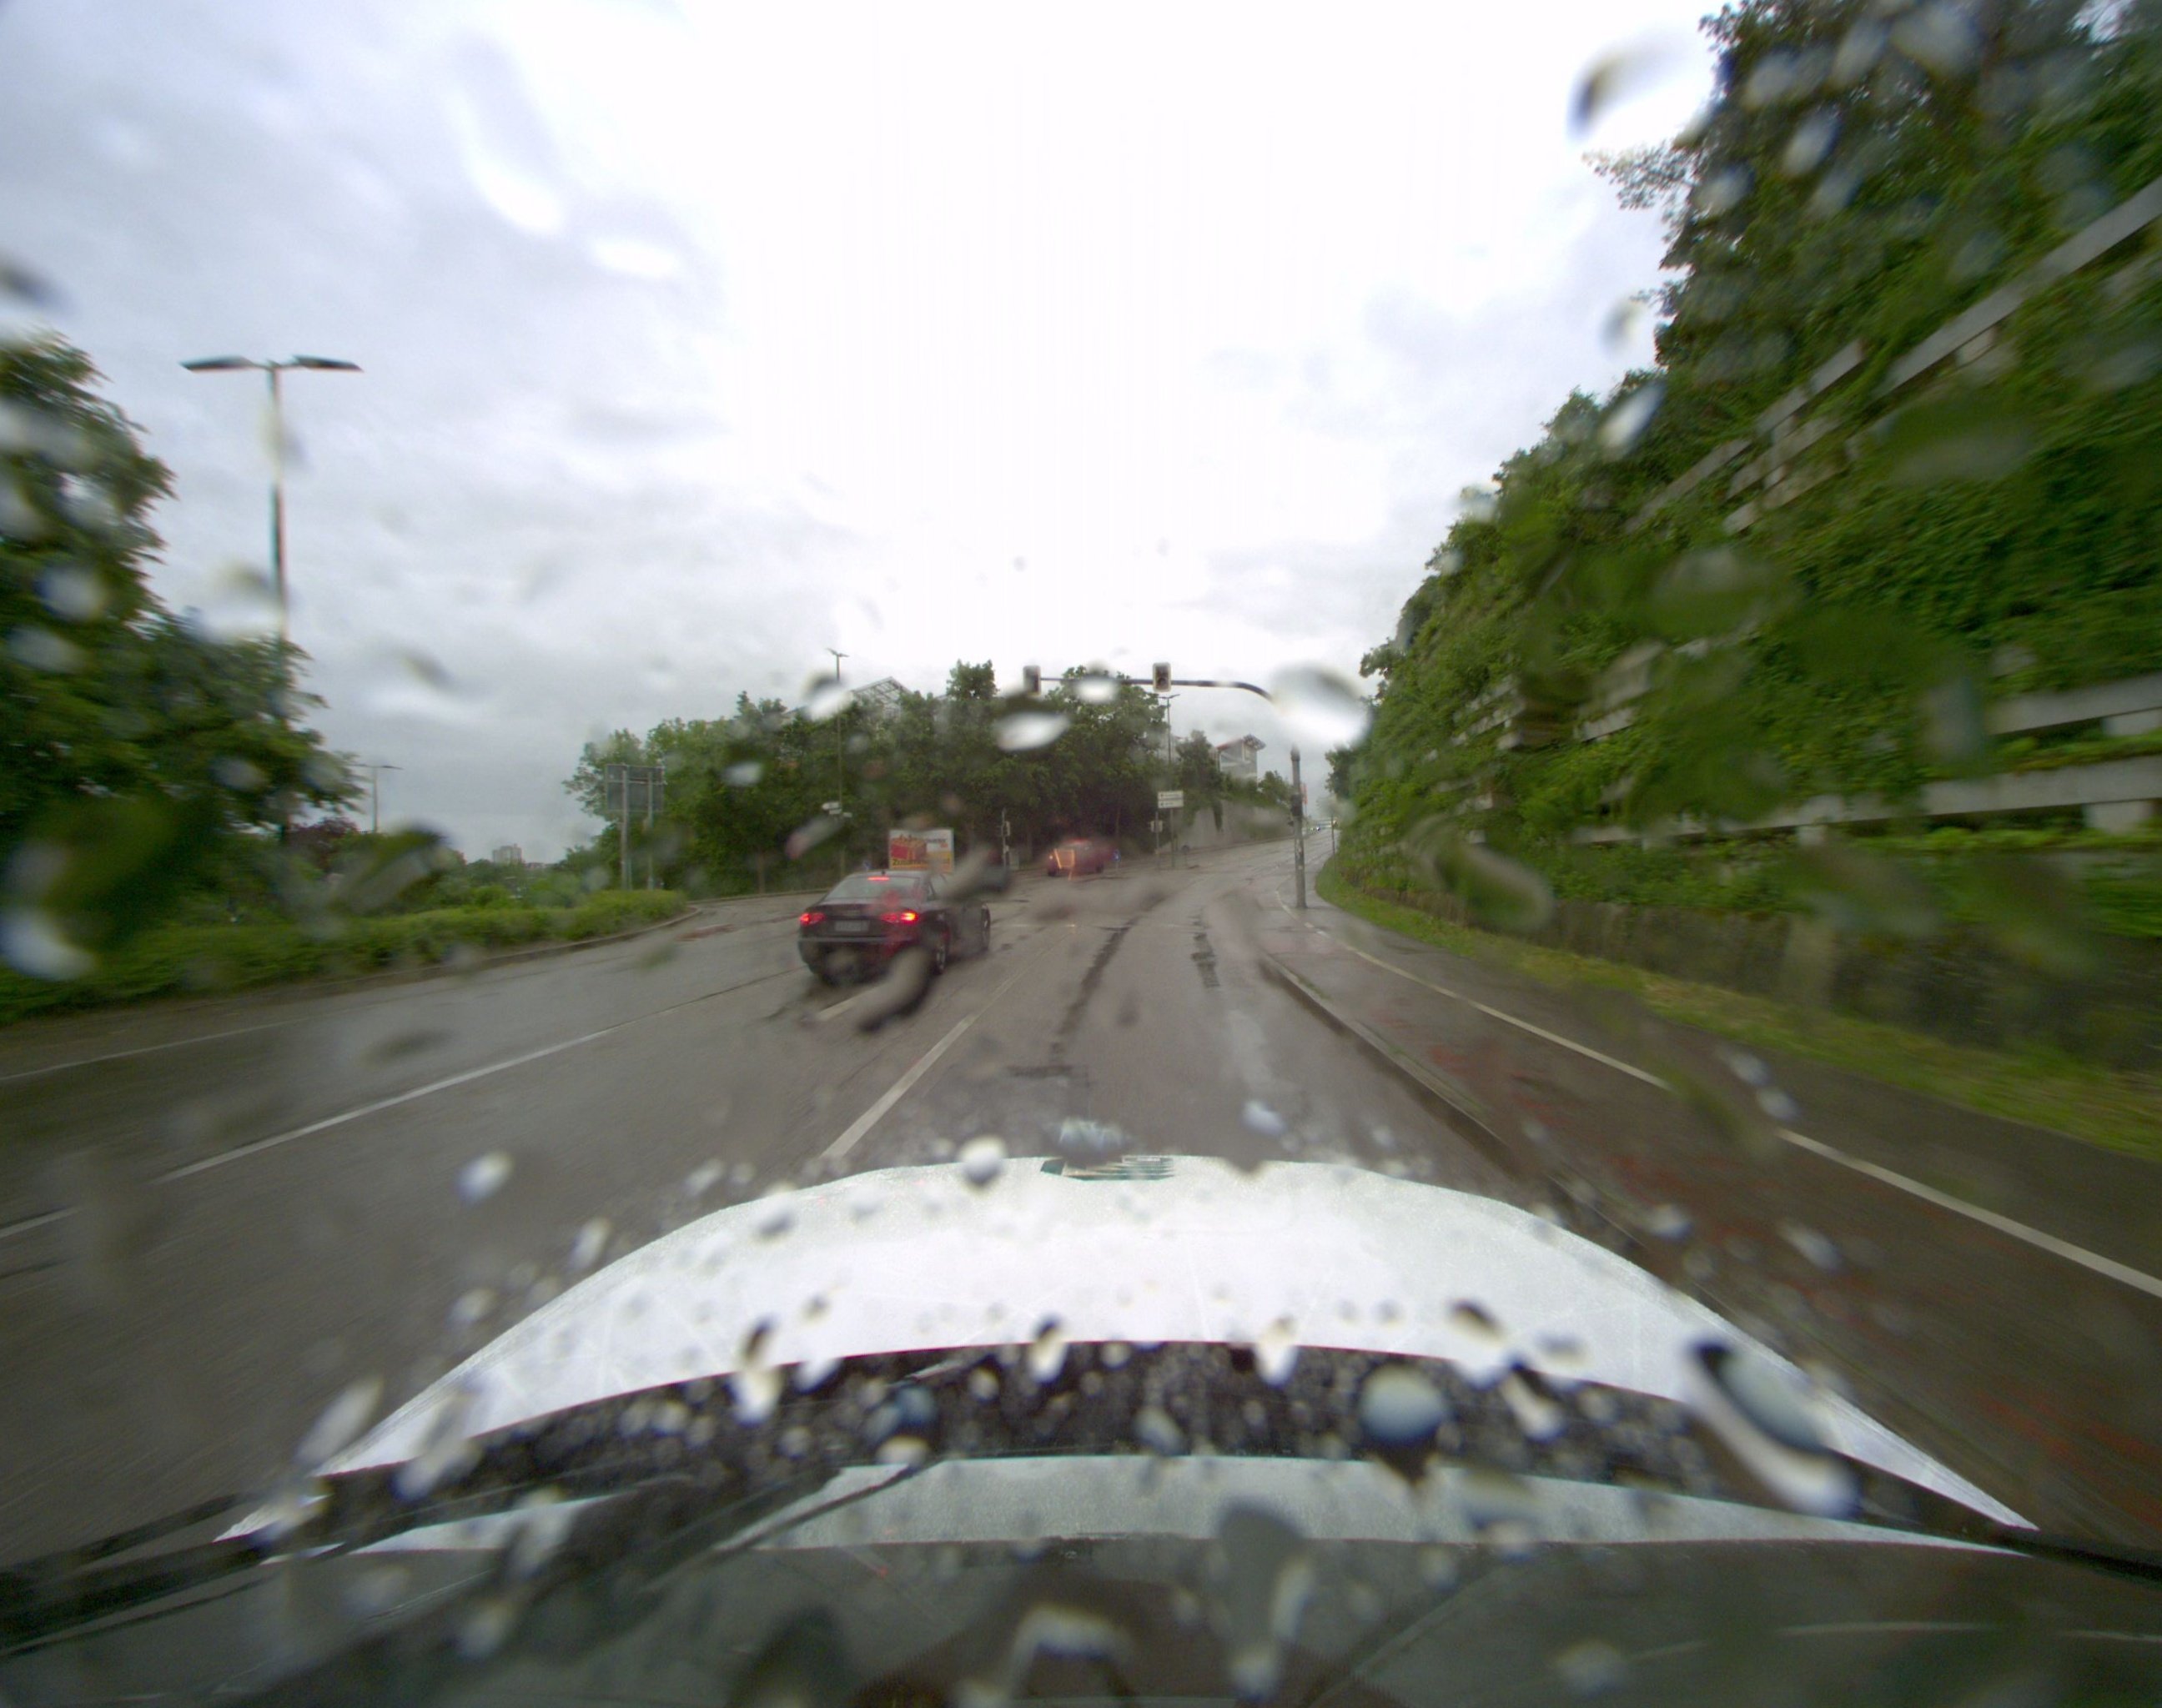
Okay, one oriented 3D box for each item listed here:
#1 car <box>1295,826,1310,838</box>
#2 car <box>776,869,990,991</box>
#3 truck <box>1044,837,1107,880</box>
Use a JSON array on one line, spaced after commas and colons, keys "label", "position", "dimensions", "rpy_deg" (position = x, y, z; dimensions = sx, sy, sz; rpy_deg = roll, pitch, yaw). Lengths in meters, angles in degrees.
[{"label": "car", "position": [30.783, -3.046, 113.108], "dimensions": [1.504, 1.448, 3.826], "rpy_deg": [-1, 0, 9]}, {"label": "car", "position": [-2.606, 0.949, 11.728], "dimensions": [1.746, 1.395, 4.006], "rpy_deg": [-1, -1, 5]}, {"label": "truck", "position": [-0.212, 0.170, 45.309], "dimensions": [1.978, 2.013, 5.363], "rpy_deg": [-1, 3, 16]}]
